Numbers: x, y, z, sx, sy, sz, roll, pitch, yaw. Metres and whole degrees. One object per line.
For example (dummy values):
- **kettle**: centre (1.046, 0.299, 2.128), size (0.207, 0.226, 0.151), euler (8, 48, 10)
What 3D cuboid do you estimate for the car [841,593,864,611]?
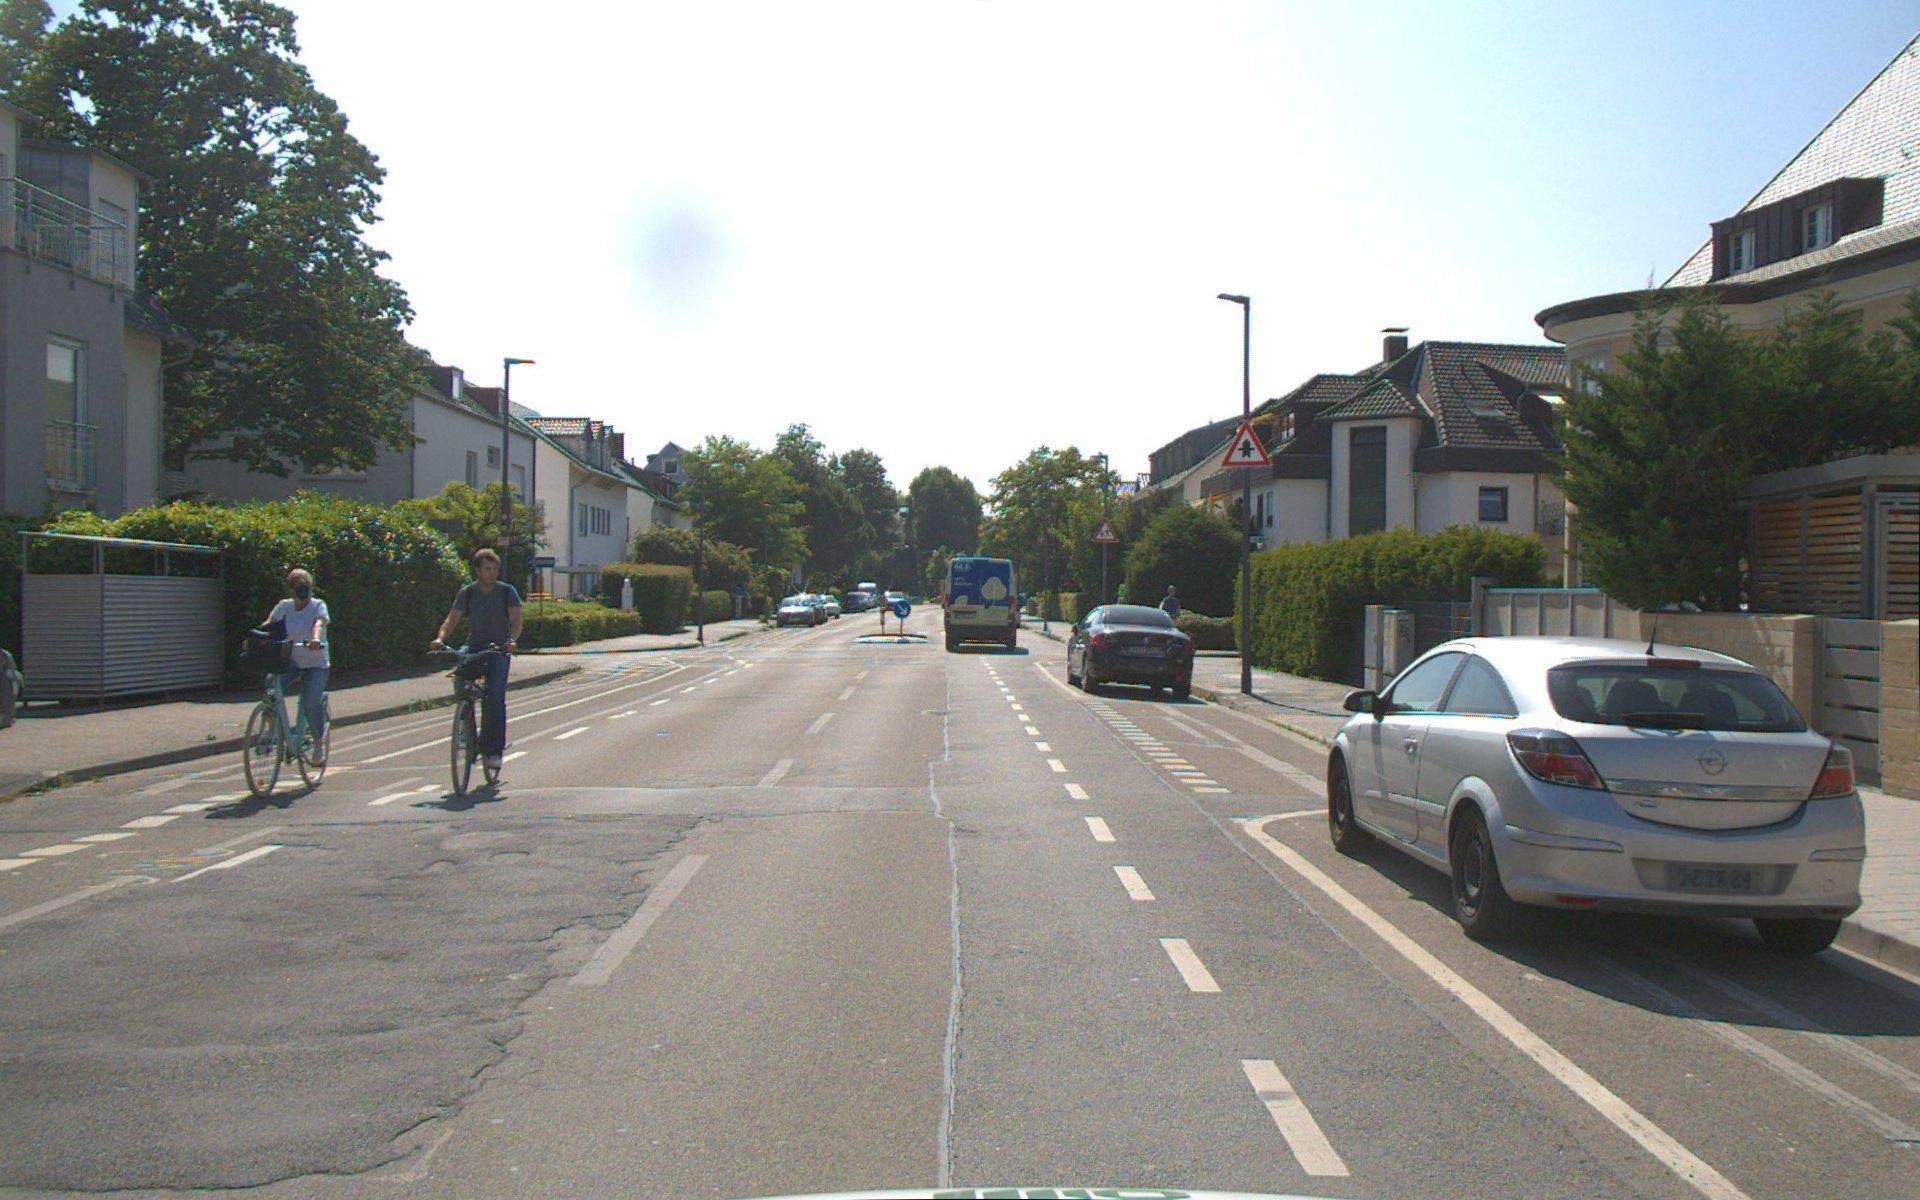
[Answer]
- **car**: centre (-8.929, 0.176, 137.414), size (1.745, 1.485, 4.084), euler (0, 0, -2)

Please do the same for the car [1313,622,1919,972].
- **car**: centre (3.228, 0.849, 8.907), size (1.701, 1.352, 4.075), euler (3, -1, 0)

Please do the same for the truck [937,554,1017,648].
- **truck**: centre (0.498, 0.029, 48.358), size (2.225, 2.616, 4.392), euler (0, 0, 0)

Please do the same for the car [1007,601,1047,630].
- **car**: centre (3.374, 0.766, 83.321), size (1.705, 1.427, 4.072), euler (0, 0, -2)

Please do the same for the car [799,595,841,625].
- **car**: centre (-7.269, 0.494, 86.086), size (1.748, 1.465, 4.111), euler (-1, 1, 1)

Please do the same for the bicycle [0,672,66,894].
- **bicycle**: centre (-5.277, 0.970, 8.517), size (0.588, 1.124, 1.346), euler (-2, 0, 0)

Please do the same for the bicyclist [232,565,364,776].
- **bicyclist**: centre (-5.285, 0.547, 13.249), size (0.662, 1.608, 0.859), euler (-2, 0, -1)

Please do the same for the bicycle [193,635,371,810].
- **bicycle**: centre (-5.294, 0.912, 13.050), size (0.548, 1.206, 2.035), euler (-2, 0, 0)

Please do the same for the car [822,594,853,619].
- **car**: centre (-7.604, 0.390, 102.997), size (1.749, 1.465, 3.999), euler (0, 0, -2)

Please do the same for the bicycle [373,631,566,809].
- **bicycle**: centre (-3.754, 0.870, 12.902), size (0.766, 1.186, 2.420), euler (-2, 0, 0)

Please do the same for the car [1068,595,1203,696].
- **car**: centre (2.860, 0.710, 27.774), size (1.701, 1.494, 4.344), euler (2, 0, -1)

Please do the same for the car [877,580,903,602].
- **car**: centre (-5.519, -0.689, 130.614), size (1.875, 1.695, 4.506), euler (-1, 0, 0)

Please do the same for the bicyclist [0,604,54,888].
- **bicyclist**: centre (-5.273, 0.769, 8.664), size (0.480, 1.479, 0.964), euler (-2, 0, -1)

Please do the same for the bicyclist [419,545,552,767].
- **bicyclist**: centre (-3.800, 0.431, 13.327), size (0.734, 1.697, 1.021), euler (-2, 0, -1)

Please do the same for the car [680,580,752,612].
- **car**: centre (-14.344, -0.240, 97.383), size (3.906, 1.790, 2.000), euler (1, 1, -1)

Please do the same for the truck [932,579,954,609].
- **truck**: centre (-1.694, -0.581, 168.983), size (2.169, 2.998, 5.685), euler (0, 0, 0)

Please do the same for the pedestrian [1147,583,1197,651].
- **pedestrian**: centre (6.070, 0.473, 47.341), size (0.891, 1.905, 1.175), euler (1, 0, -34)

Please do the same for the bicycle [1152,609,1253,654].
- **bicycle**: centre (6.686, 0.861, 45.633), size (2.653, 1.178, 0.862), euler (1, 0, 31)

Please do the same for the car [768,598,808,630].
- **car**: centre (-8.221, 0.644, 79.481), size (1.750, 1.465, 4.151), euler (-1, 0, -4)
